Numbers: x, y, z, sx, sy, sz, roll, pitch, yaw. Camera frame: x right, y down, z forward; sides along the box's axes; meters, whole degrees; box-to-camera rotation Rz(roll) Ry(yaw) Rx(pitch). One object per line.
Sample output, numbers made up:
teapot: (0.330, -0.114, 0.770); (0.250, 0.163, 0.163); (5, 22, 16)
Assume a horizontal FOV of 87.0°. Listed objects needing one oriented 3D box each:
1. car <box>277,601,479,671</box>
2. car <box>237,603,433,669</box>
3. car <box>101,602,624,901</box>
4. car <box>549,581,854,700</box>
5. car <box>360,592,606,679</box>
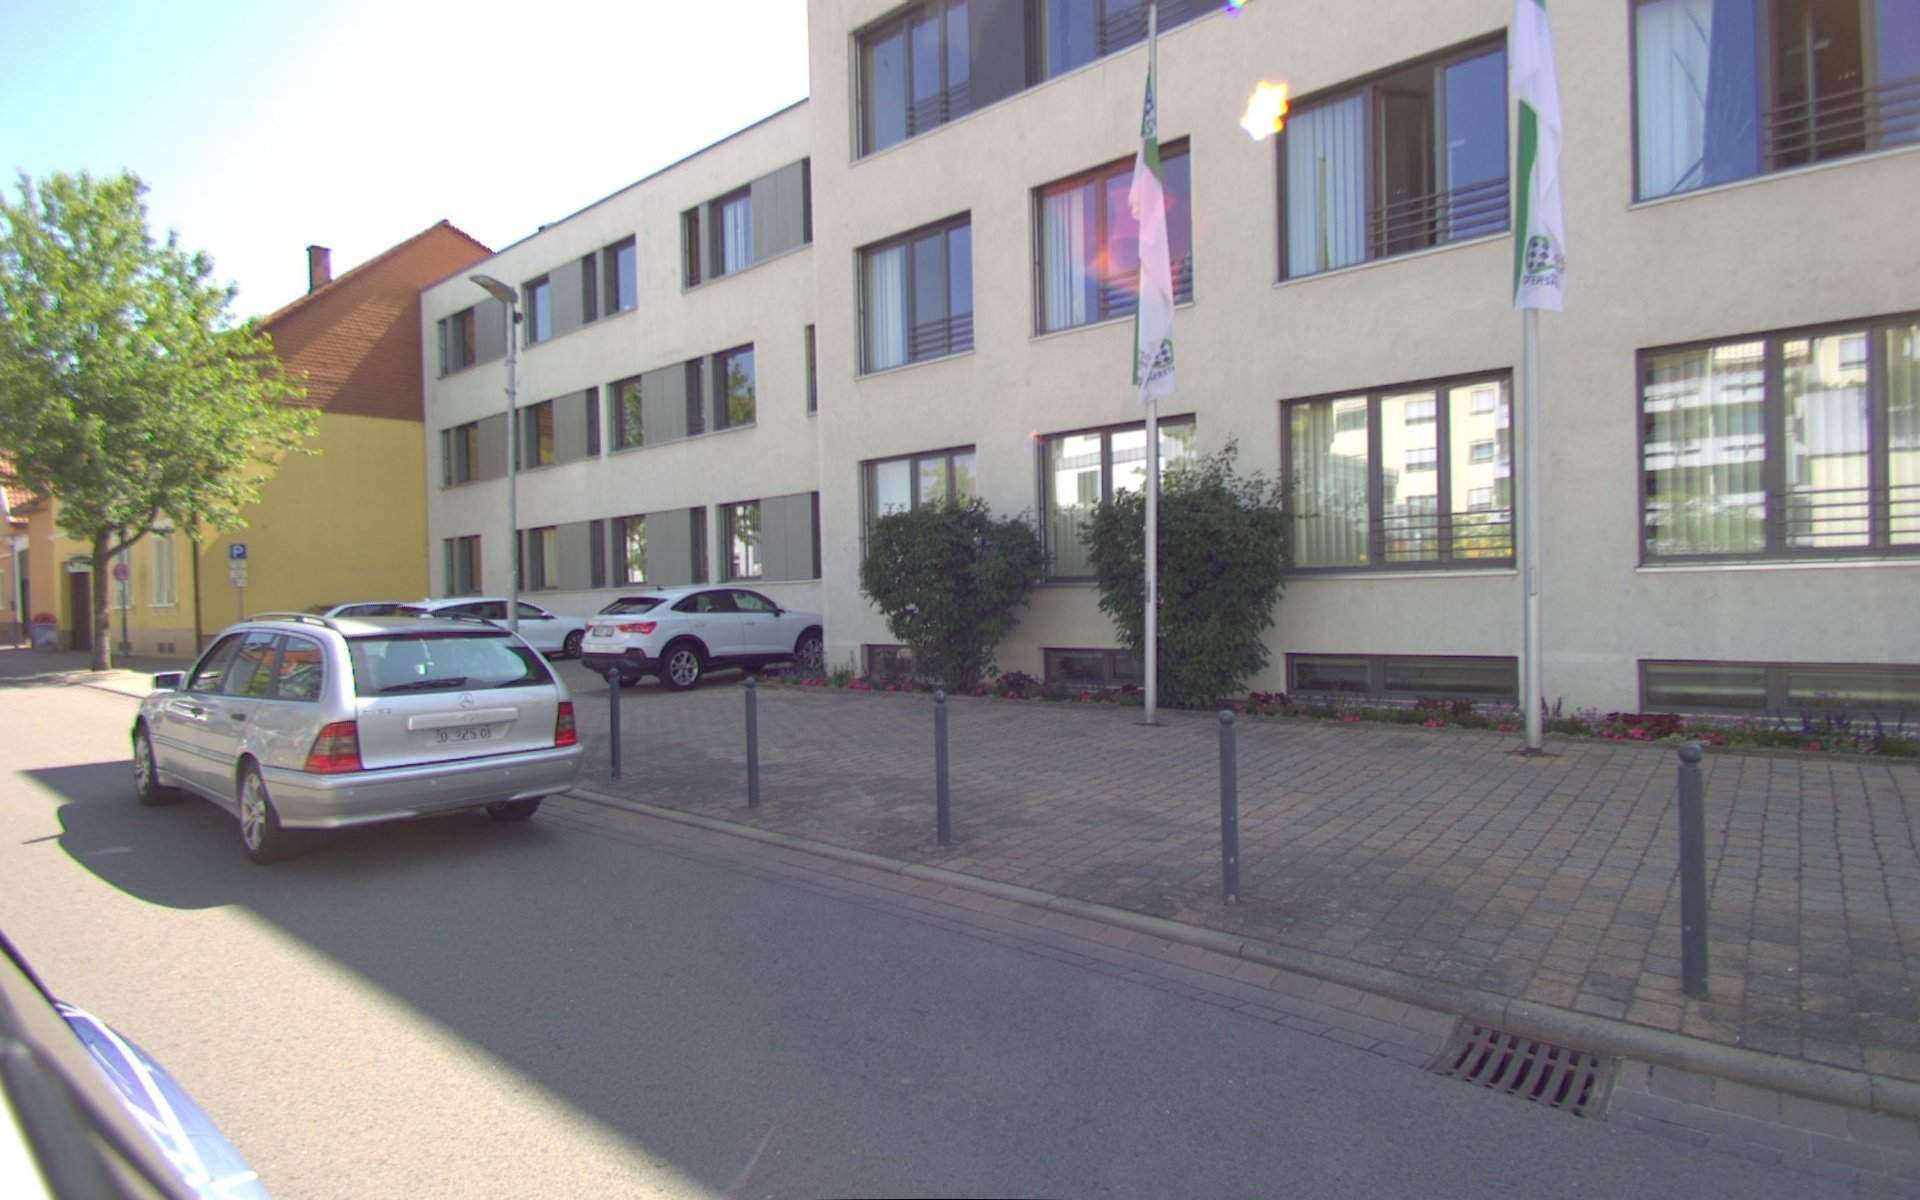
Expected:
car: (-14.405, 0.846, 25.208); (1.806, 1.462, 3.948); (-2, 1, 39)
car: (-16.483, 0.915, 26.864); (1.968, 1.442, 3.952); (-2, 1, 36)
car: (-4.452, 0.764, 7.227); (4.433, 1.475, 1.861); (0, 1, 40)
car: (-4.104, 0.556, 16.680); (2.145, 1.565, 4.463); (-1, 1, 39)
car: (-10.332, 0.692, 22.200); (1.933, 1.565, 4.459); (0, 2, 40)
